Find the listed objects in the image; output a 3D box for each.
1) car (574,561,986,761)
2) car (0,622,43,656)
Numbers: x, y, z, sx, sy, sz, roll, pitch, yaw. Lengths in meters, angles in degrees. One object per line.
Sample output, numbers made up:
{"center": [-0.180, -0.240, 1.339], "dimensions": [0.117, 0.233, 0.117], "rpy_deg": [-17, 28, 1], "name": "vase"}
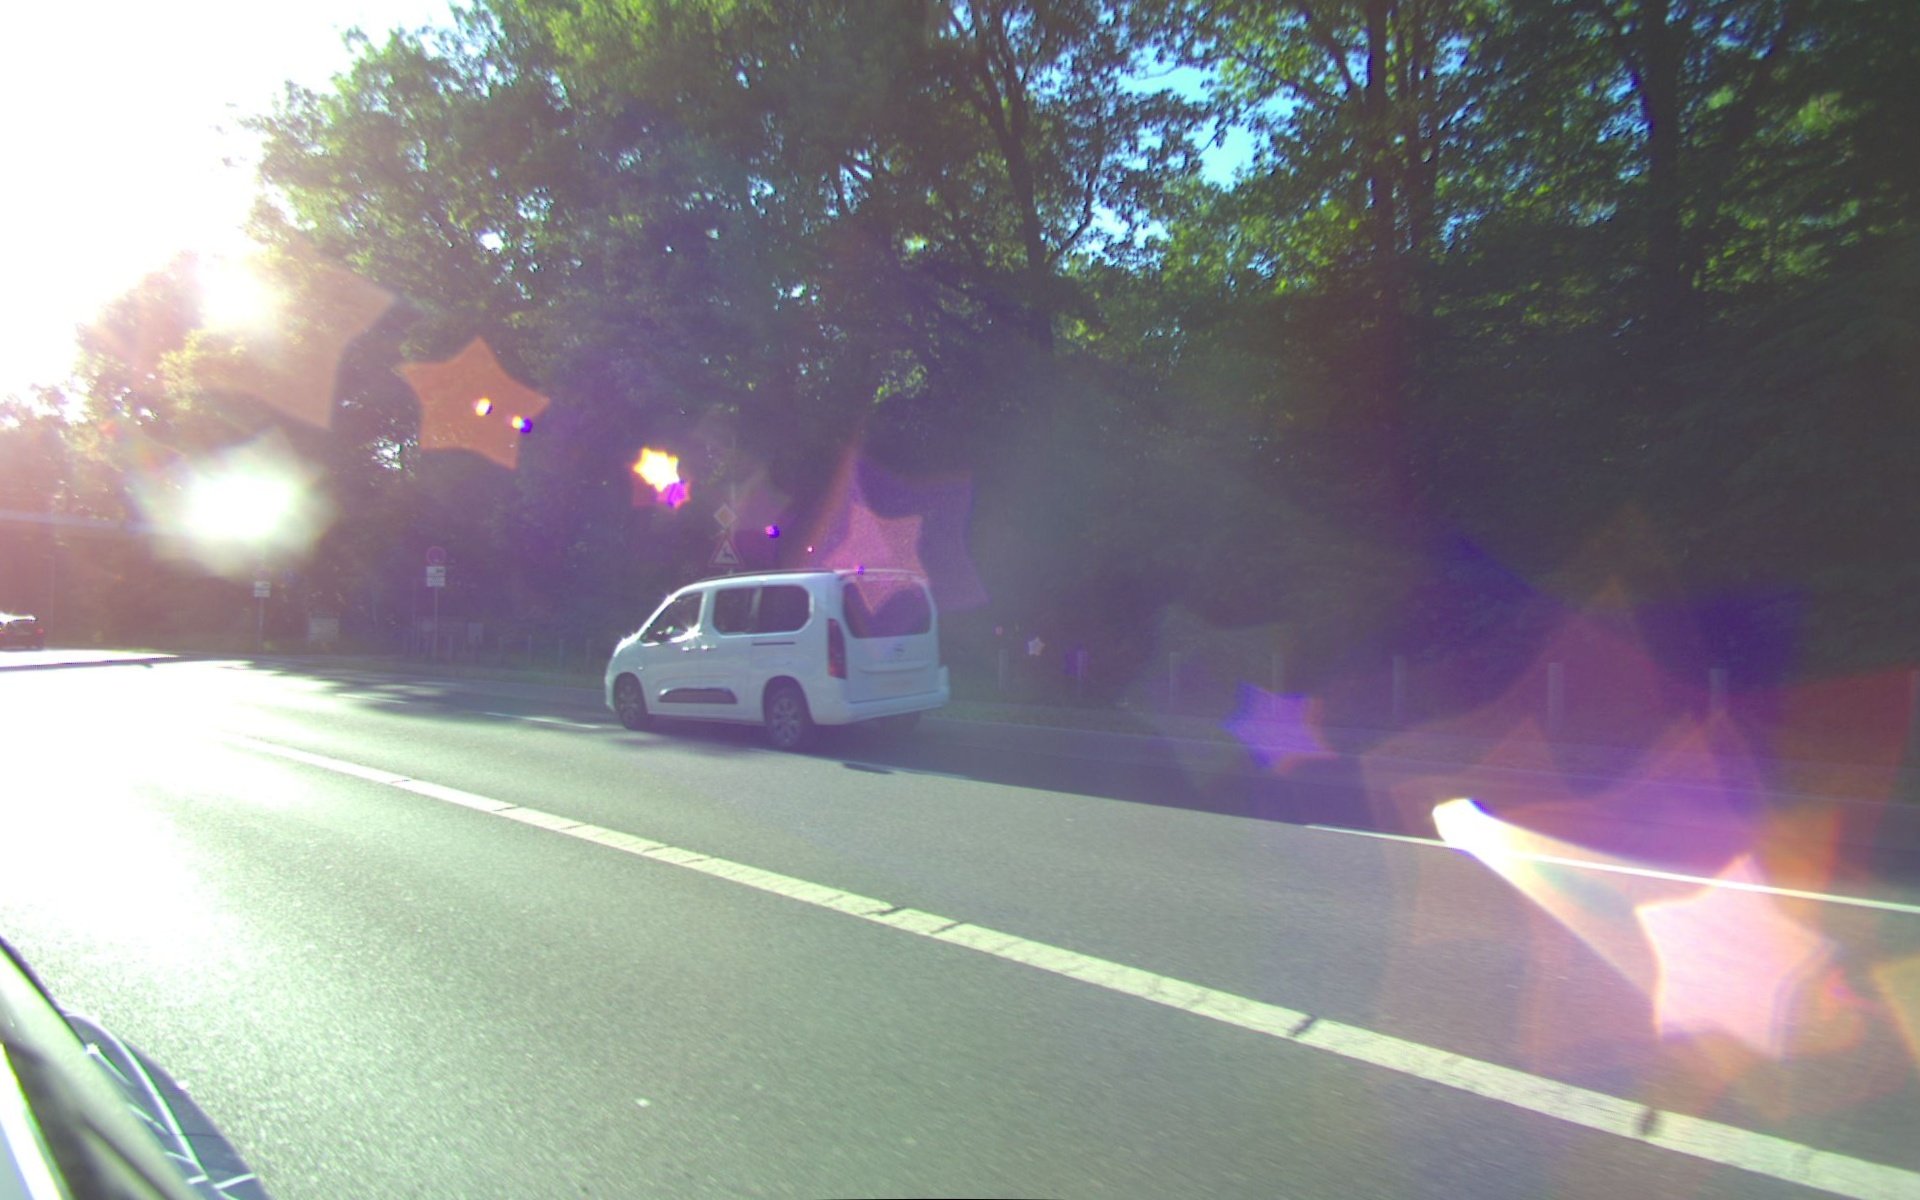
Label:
{"center": [-2.263, 0.579, 11.701], "dimensions": [4.997, 1.840, 1.980], "rpy_deg": [-1, 0, 41], "name": "car"}
{"center": [-42.673, 1.732, 45.449], "dimensions": [4.308, 1.477, 1.498], "rpy_deg": [-1, -2, 38], "name": "car"}
